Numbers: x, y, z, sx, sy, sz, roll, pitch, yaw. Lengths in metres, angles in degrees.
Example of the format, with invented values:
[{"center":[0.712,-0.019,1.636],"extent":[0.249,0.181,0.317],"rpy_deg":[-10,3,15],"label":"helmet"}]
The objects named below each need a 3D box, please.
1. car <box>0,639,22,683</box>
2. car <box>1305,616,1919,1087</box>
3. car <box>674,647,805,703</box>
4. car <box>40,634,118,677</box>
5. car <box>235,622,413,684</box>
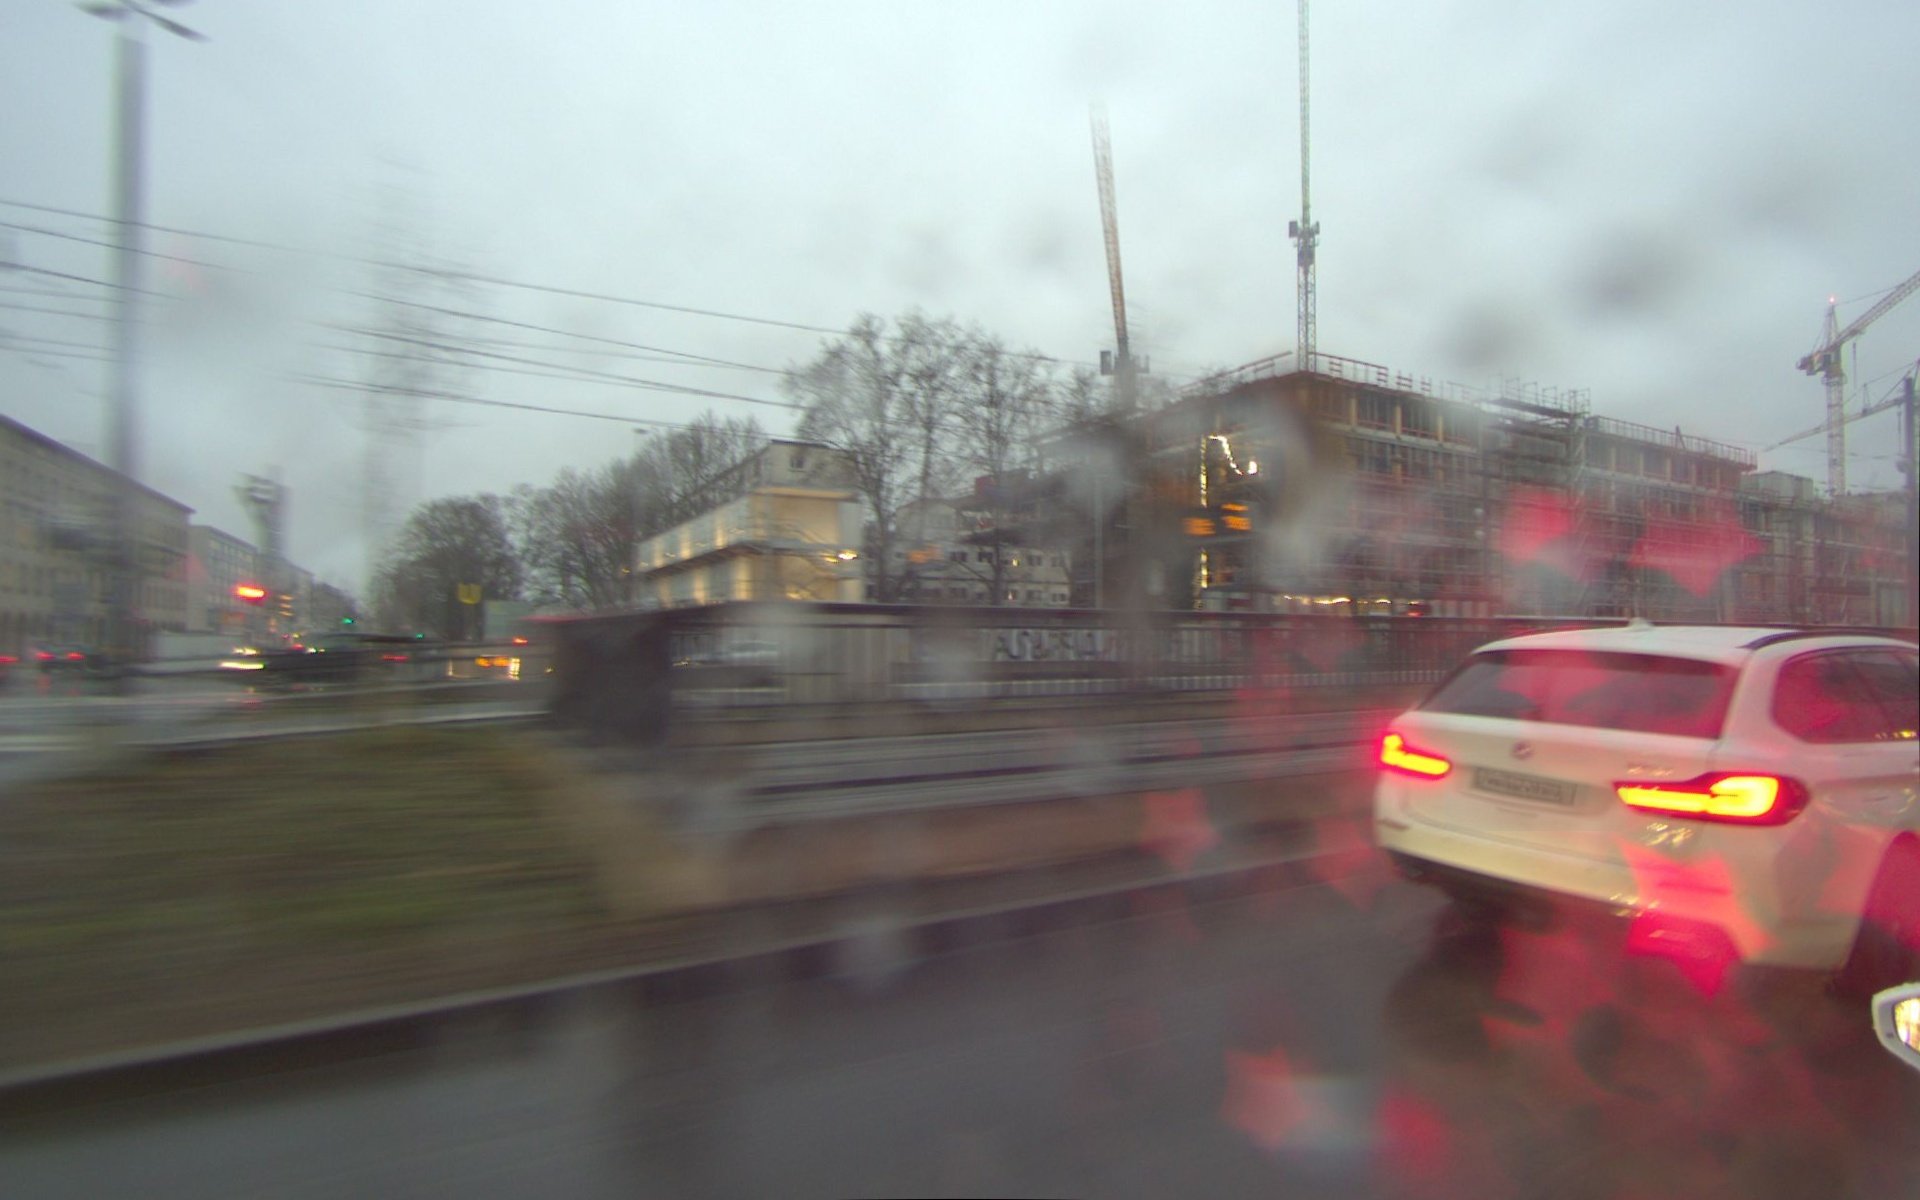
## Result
[{"center":[-30.279,1.822,30.122],"extent":[3.096,1.291,1.451],"rpy_deg":[0,-1,6],"label":"car"},{"center":[4.196,0.862,5.243],"extent":[4.890,1.485,1.843],"rpy_deg":[1,-1,-31],"label":"car"},{"center":[-8.070,2.699,36.901],"extent":[4.342,1.898,1.861],"rpy_deg":[2,-1,-35],"label":"car"},{"center":[-41.612,2.581,47.522],"extent":[1.735,1.903,4.168],"rpy_deg":[1,-1,-27],"label":"car"},{"center":[-18.139,1.483,28.758],"extent":[4.191,1.637,1.861],"rpy_deg":[2,-1,-35],"label":"car"}]
